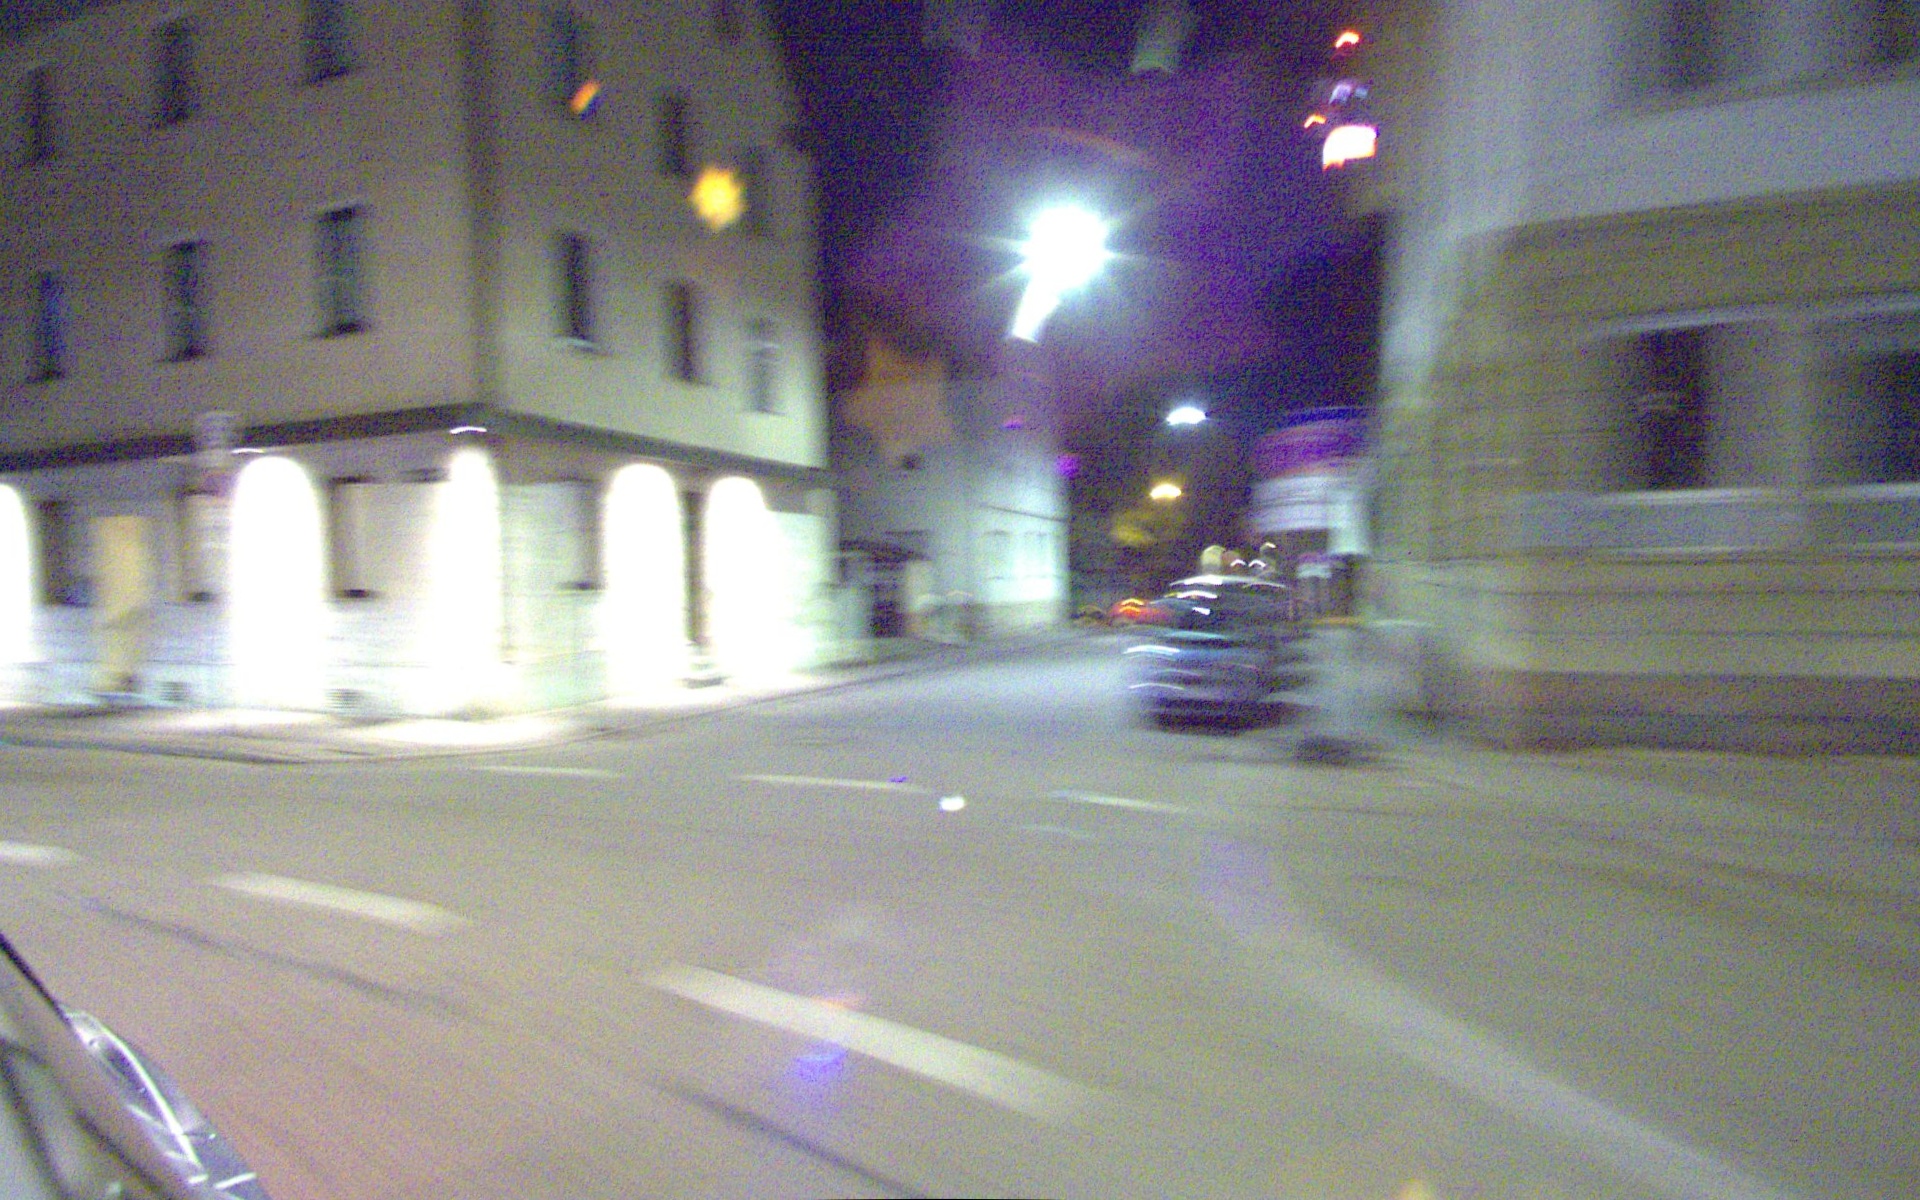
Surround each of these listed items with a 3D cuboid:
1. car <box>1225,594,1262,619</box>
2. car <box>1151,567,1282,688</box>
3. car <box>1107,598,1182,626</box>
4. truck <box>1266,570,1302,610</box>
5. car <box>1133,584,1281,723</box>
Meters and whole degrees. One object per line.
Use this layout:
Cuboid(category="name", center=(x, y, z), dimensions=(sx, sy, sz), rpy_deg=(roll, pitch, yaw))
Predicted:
Cuboid(category="car", center=(17.486, 0.396, 62.401), dimensions=(1.794, 1.488, 3.889), rpy_deg=(-2, -1, 21))
Cuboid(category="car", center=(4.380, 0.385, 16.906), dimensions=(1.706, 1.779, 3.856), rpy_deg=(-1, 1, 21))
Cuboid(category="car", center=(10.561, 0.687, 58.126), dimensions=(3.944, 1.408, 1.802), rpy_deg=(-2, 1, 0))
Cuboid(category="truck", center=(29.869, -0.917, 93.069), dimensions=(2.769, 3.443, 7.320), rpy_deg=(-2, -1, 20))
Cuboid(category="car", center=(3.206, 0.584, 12.818), dimensions=(1.478, 1.524, 2.800), rpy_deg=(-1, 1, 21))
